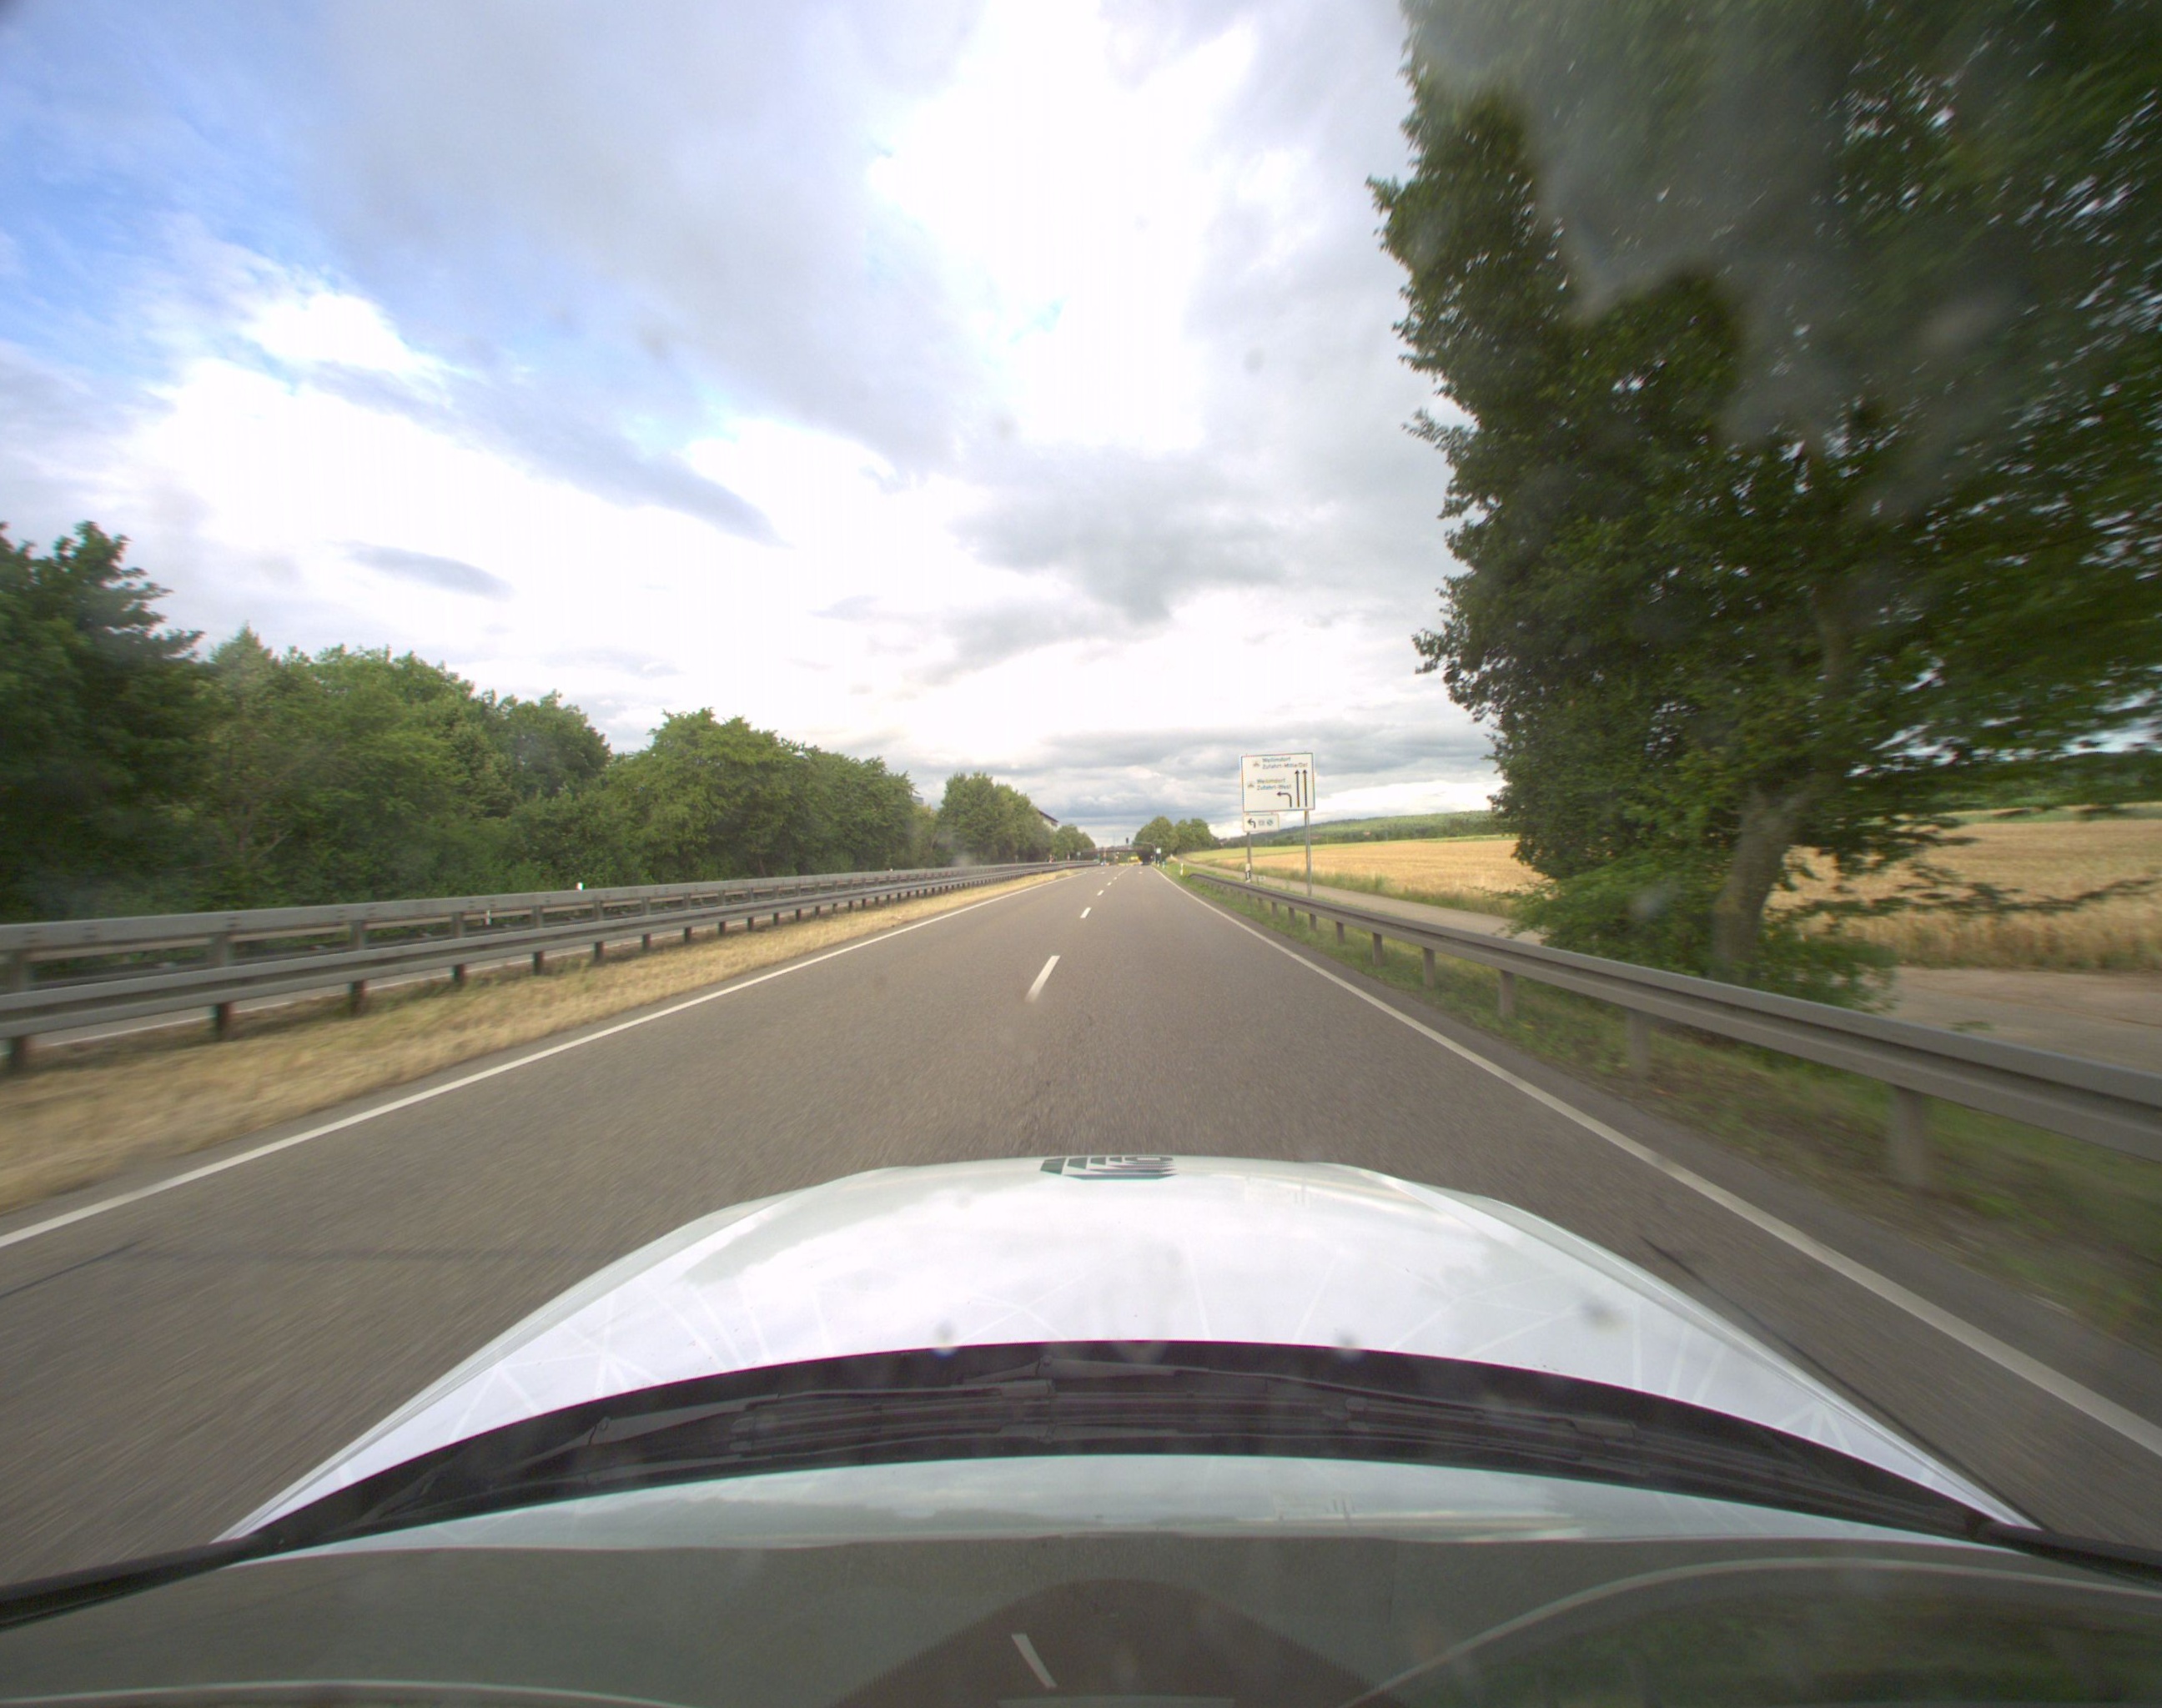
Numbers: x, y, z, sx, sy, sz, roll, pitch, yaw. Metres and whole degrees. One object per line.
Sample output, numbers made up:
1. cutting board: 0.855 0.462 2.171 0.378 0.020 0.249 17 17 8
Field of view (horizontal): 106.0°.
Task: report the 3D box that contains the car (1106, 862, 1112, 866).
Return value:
1. car: 7.841 2.785 227.538 1.351 1.092 2.926 -2 0 5
